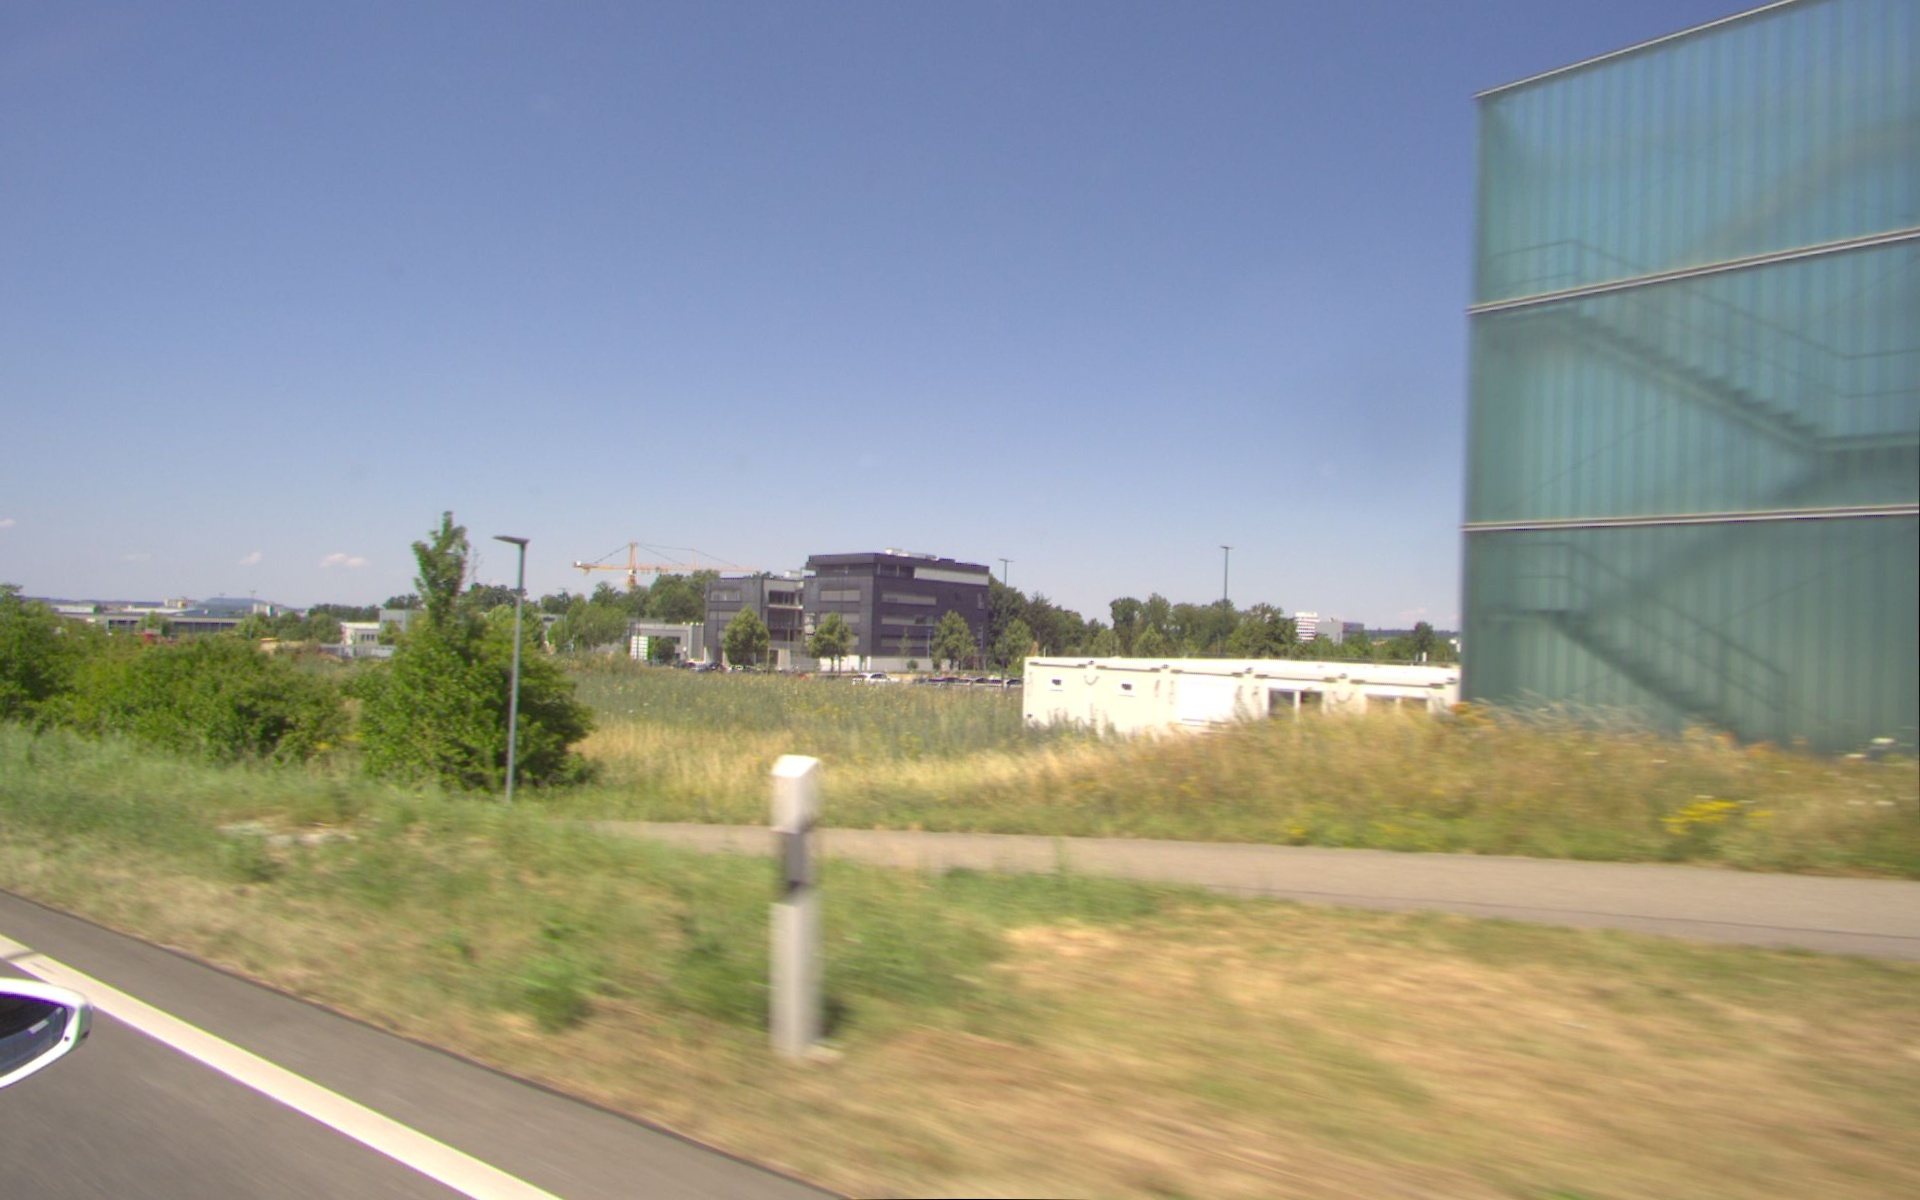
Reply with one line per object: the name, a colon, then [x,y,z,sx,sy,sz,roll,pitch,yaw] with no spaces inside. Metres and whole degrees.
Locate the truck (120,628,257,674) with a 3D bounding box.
truck: [-70.473,4.721,91.801,9.284,3.730,3.117,4,-3,-28]

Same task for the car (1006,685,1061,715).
car: [5.385,7.274,73.165,1.978,2.038,3.970,1,-3,42]

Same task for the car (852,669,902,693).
car: [-7.070,6.912,85.583,1.978,1.938,3.970,1,-3,42]

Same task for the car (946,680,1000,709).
car: [1.012,7.249,76.967,1.978,2.038,3.970,1,-3,42]

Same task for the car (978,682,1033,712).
car: [3.427,7.267,74.951,1.979,2.038,3.968,1,-3,44]
